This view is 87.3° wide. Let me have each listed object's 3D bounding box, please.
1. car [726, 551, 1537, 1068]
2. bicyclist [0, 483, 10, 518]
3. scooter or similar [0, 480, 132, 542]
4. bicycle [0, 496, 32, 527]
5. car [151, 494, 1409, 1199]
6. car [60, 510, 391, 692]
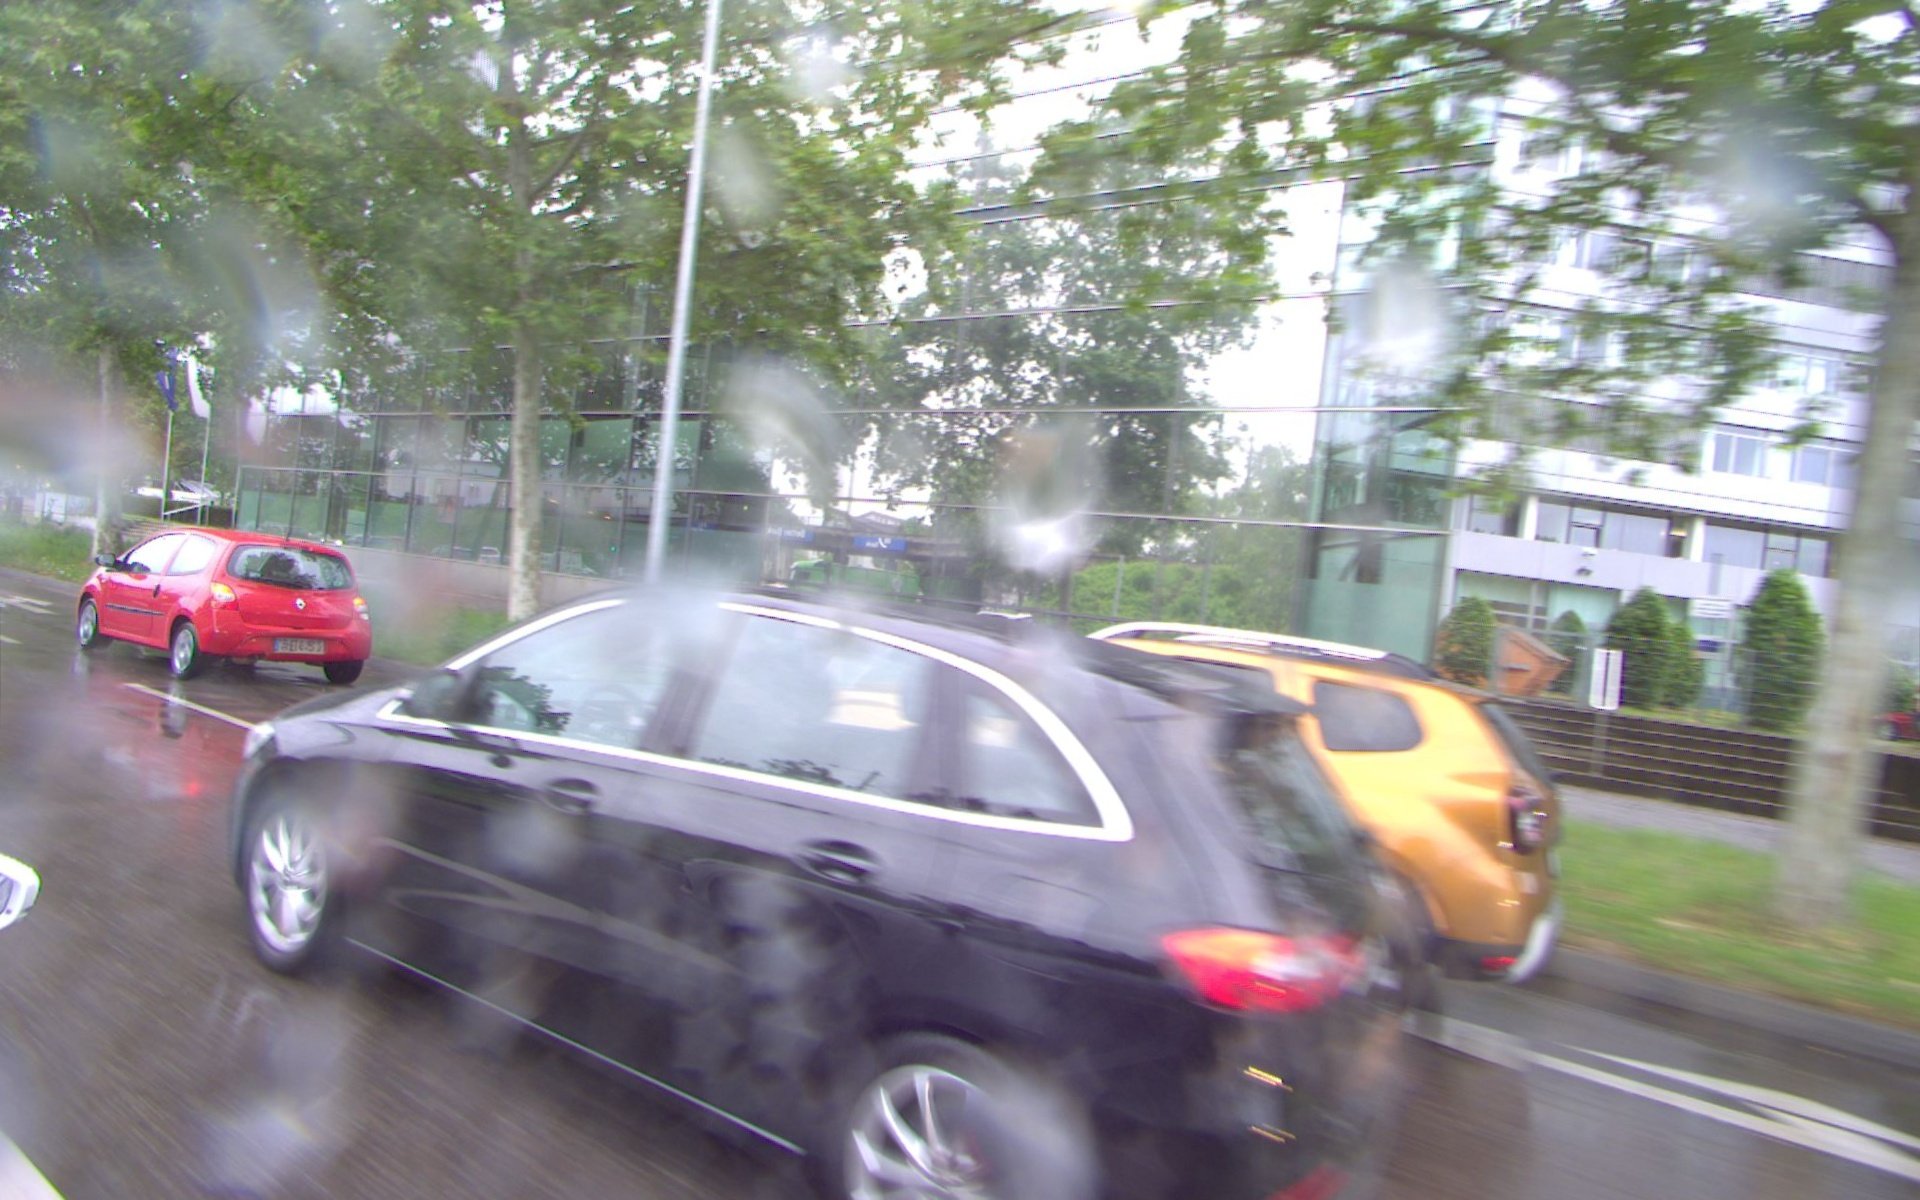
[{"bbox_3d":[0.842,0.870,5.768,4.079,1.704,1.679,8,-2,32],"label":"car"},{"bbox_3d":[-40.963,-4.262,42.724,0.612,1.436,0.469,7,0,-17],"label":"bicyclist"},{"bbox_3d":[-49.045,-4.826,55.109,5.228,2.475,1.893,8,0,-9],"label":"scooter or similar"},{"bbox_3d":[-41.057,-3.847,42.919,0.612,1.200,3.363,7,-1,-16],"label":"bicycle"},{"bbox_3d":[-0.786,0.665,3.521,4.021,1.573,1.751,7,-1,30],"label":"car"},{"bbox_3d":[-7.901,-0.006,10.786,3.332,1.480,1.572,7,-1,31],"label":"car"}]
